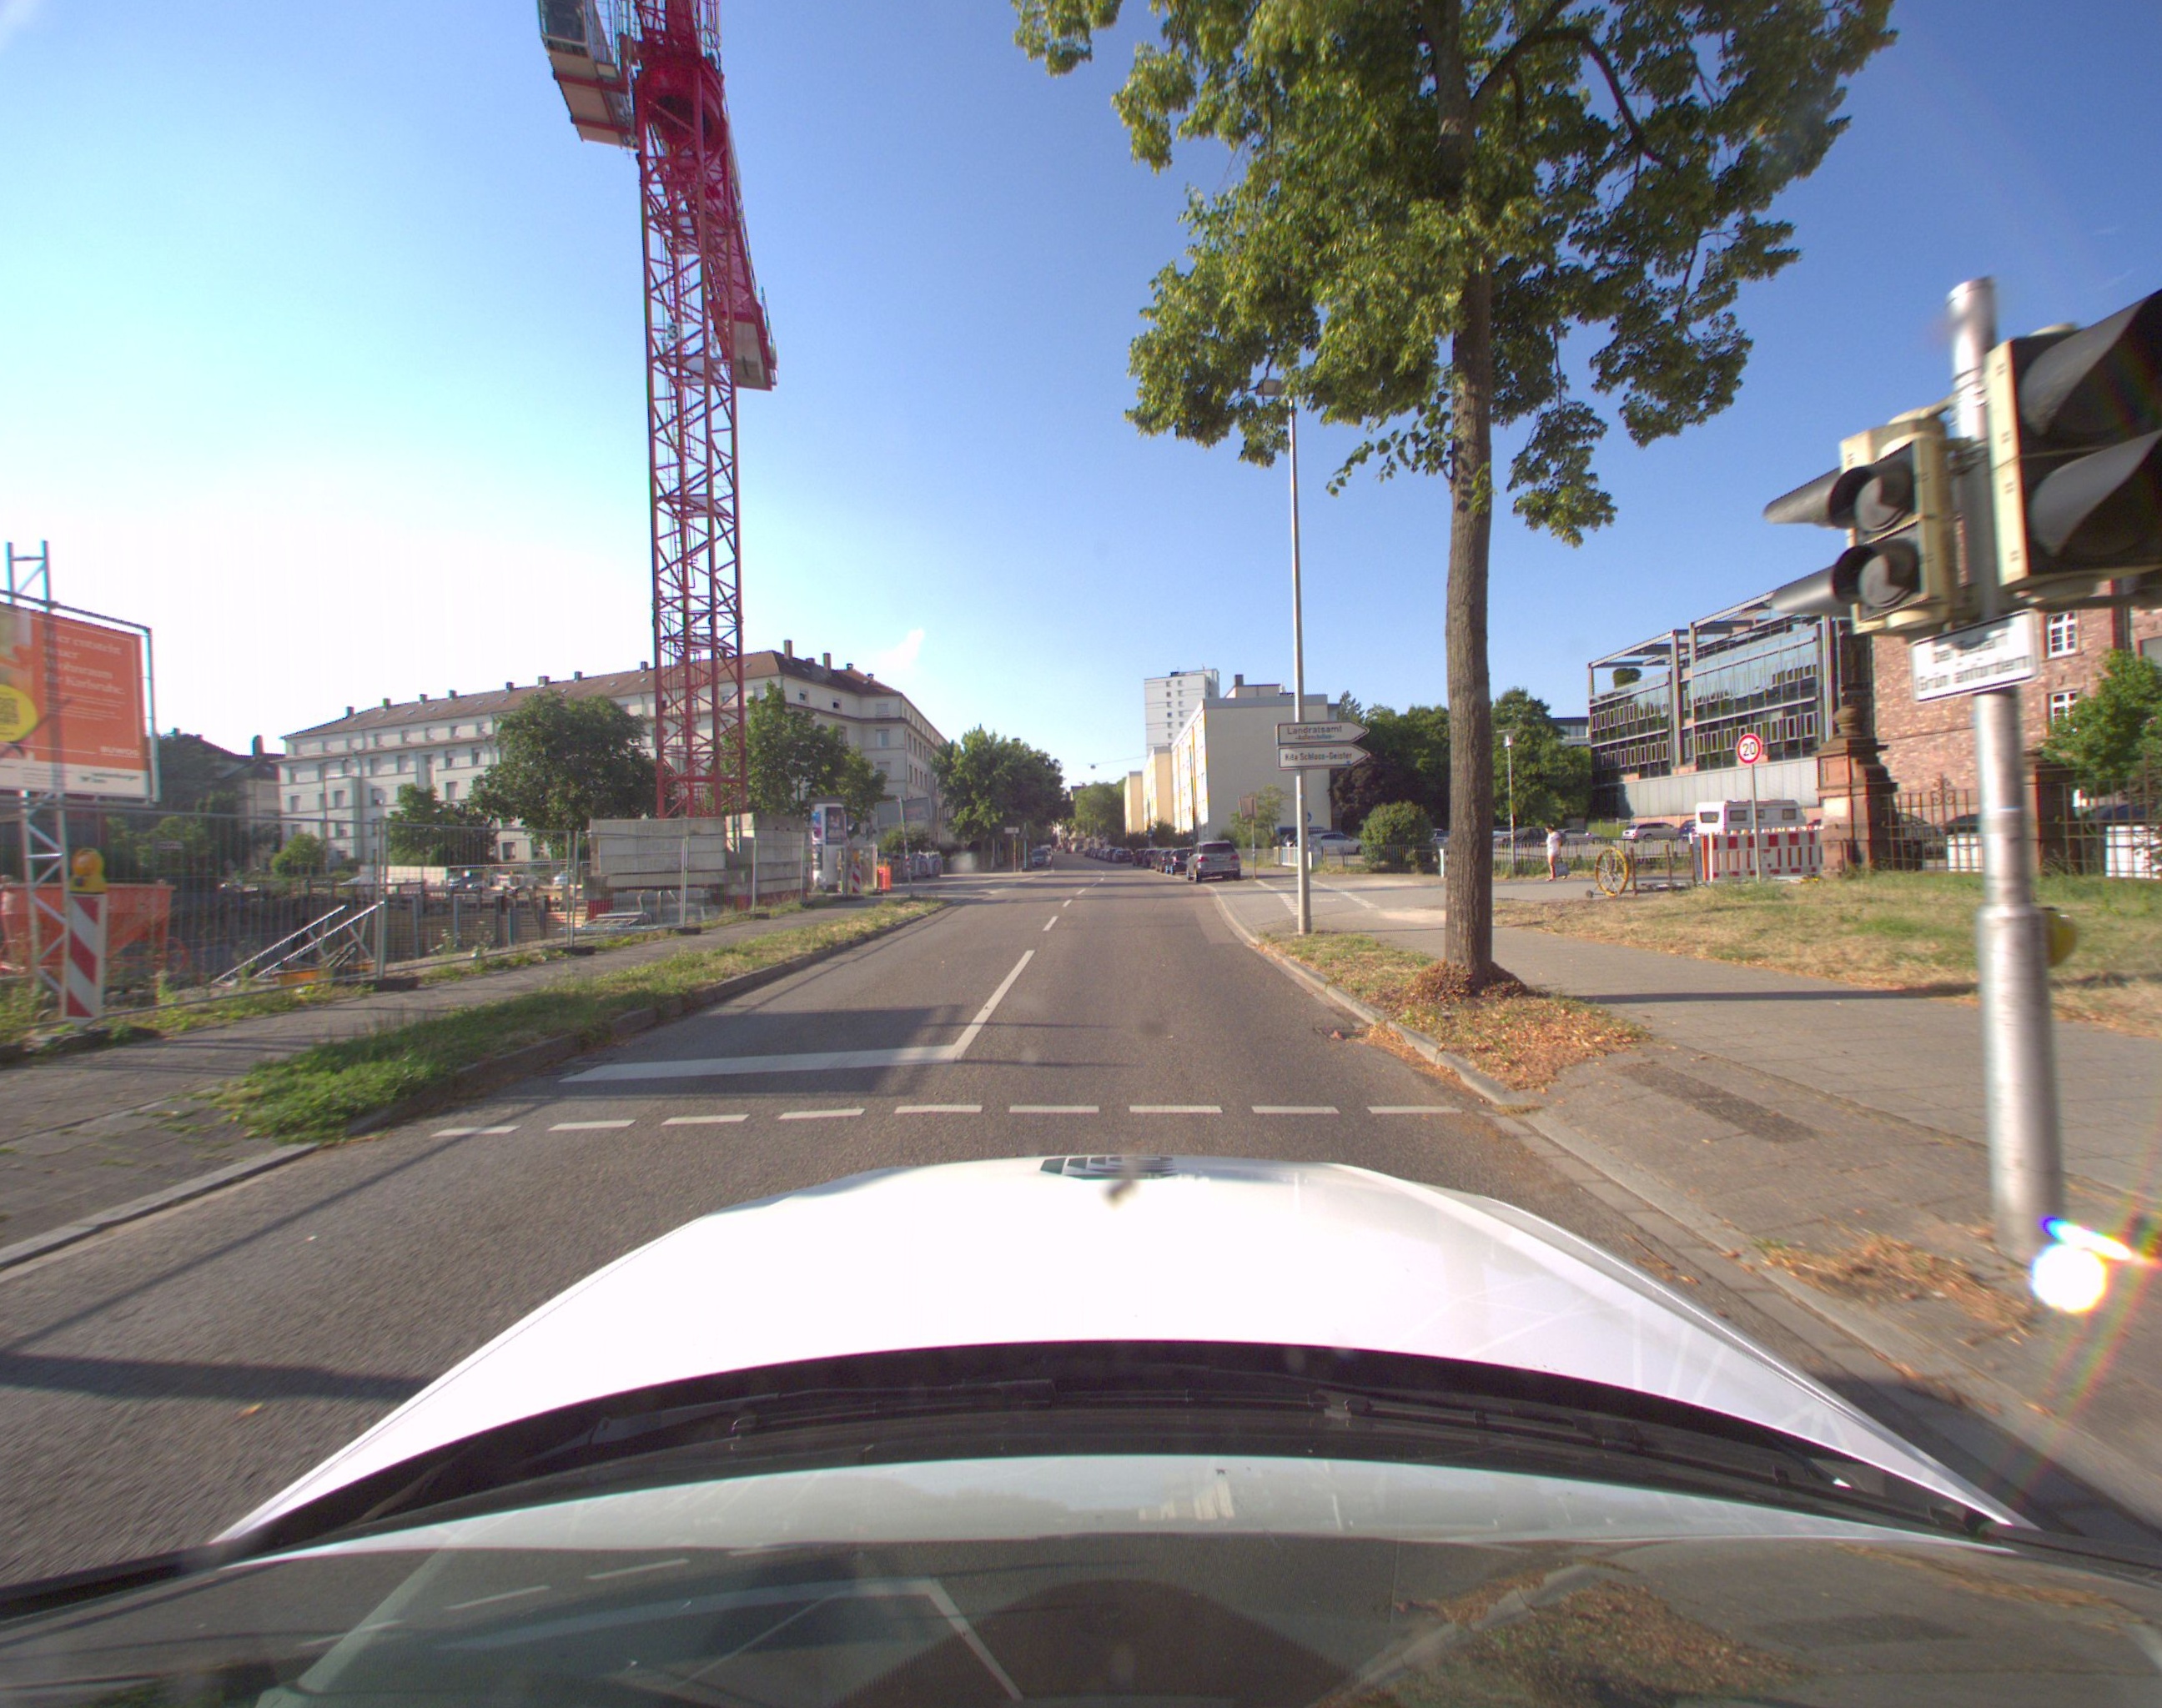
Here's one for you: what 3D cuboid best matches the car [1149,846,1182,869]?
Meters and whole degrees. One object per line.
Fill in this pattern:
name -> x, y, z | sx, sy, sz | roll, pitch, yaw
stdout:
car -> 5.969, 0.207, 57.958 | 1.647, 1.436, 3.955 | -2, 2, -3

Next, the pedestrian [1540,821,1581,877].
pedestrian -> 14.070, -0.140, 23.926 | 0.712, 1.611, 0.789 | 0, -1, -3

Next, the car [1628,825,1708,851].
car -> 41.340, -1.103, 57.384 | 4.262, 1.725, 1.998 | 0, -1, -2

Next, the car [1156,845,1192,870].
car -> 6.009, 0.256, 53.155 | 1.895, 1.529, 4.810 | 0, -1, 1

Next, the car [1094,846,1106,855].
car -> 3.182, -0.597, 138.396 | 1.832, 1.501, 4.170 | 0, -1, -1

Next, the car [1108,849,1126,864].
car -> 4.352, 0.294, 99.446 | 1.767, 1.677, 4.642 | -2, -1, -2

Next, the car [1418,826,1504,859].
car -> 21.644, -0.654, 46.451 | 3.976, 1.794, 1.998 | 0, -1, -2

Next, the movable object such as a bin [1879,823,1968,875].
movable object such as a bin -> 18.190, -0.107, 17.620 | 0.977, 1.092, 0.942 | 0, -1, 12

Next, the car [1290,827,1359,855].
car -> 16.175, -0.869, 54.278 | 3.976, 1.794, 1.998 | 0, -1, -2

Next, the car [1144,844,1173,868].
car -> 5.994, 0.192, 63.484 | 1.895, 1.779, 4.582 | 0, -1, 1

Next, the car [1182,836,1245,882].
car -> 5.811, 0.236, 36.315 | 1.915, 1.779, 4.810 | -5, -1, 0

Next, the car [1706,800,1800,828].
car -> 39.081, -2.328, 47.444 | 4.060, 1.503, 1.830 | 0, -1, -2

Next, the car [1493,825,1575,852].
car -> 29.696, -1.007, 53.474 | 4.262, 1.725, 1.998 | 0, -1, -2

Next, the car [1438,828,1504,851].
car -> 30.536, -1.156, 63.863 | 4.262, 1.725, 1.998 | 0, -1, -2

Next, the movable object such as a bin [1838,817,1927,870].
movable object such as a bin -> 16.983, -0.204, 17.287 | 0.977, 1.092, 0.942 | 0, -1, 12

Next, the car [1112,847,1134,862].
car -> 4.524, 0.040, 88.478 | 1.795, 1.507, 4.614 | -2, -1, -4

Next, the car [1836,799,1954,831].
car -> 40.611, -1.940, 40.698 | 4.058, 1.503, 1.831 | 0, -1, 0

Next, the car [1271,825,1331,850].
car -> 16.629, -1.259, 61.755 | 3.976, 1.794, 1.998 | 0, -1, -2

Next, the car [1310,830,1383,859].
car -> 16.802, -0.600, 51.647 | 3.976, 1.794, 1.998 | 0, -1, -2

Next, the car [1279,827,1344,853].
car -> 16.052, -0.955, 56.919 | 3.974, 1.794, 1.999 | 0, -1, -1

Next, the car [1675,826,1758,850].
car -> 41.252, -1.034, 52.916 | 4.060, 1.503, 1.830 | 0, -1, -2

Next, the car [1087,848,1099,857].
car -> 2.381, -0.259, 160.295 | 1.895, 1.651, 4.334 | 3, 1, -6

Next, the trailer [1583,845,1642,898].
trailer -> 11.101, 0.355, 17.042 | 0.480, 1.067, 1.269 | 0, -1, 4

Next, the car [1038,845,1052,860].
car -> -6.202, -0.289, 140.248 | 2.352, 2.445, 6.160 | 0, -1, -2

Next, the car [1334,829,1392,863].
car -> 14.545, -0.397, 42.220 | 1.647, 1.662, 3.999 | 0, -1, 0

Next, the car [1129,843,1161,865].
car -> 5.503, 0.035, 70.607 | 1.883, 1.561, 4.939 | -7, 0, -4

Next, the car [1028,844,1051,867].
car -> -3.785, 0.179, 75.788 | 1.836, 1.896, 4.485 | 4, -1, -1

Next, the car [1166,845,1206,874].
car -> 6.024, 0.337, 47.286 | 1.736, 1.540, 4.439 | -3, -1, 1

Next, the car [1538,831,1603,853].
car -> 40.828, -1.004, 67.990 | 4.262, 1.725, 1.998 | 0, -1, -2
